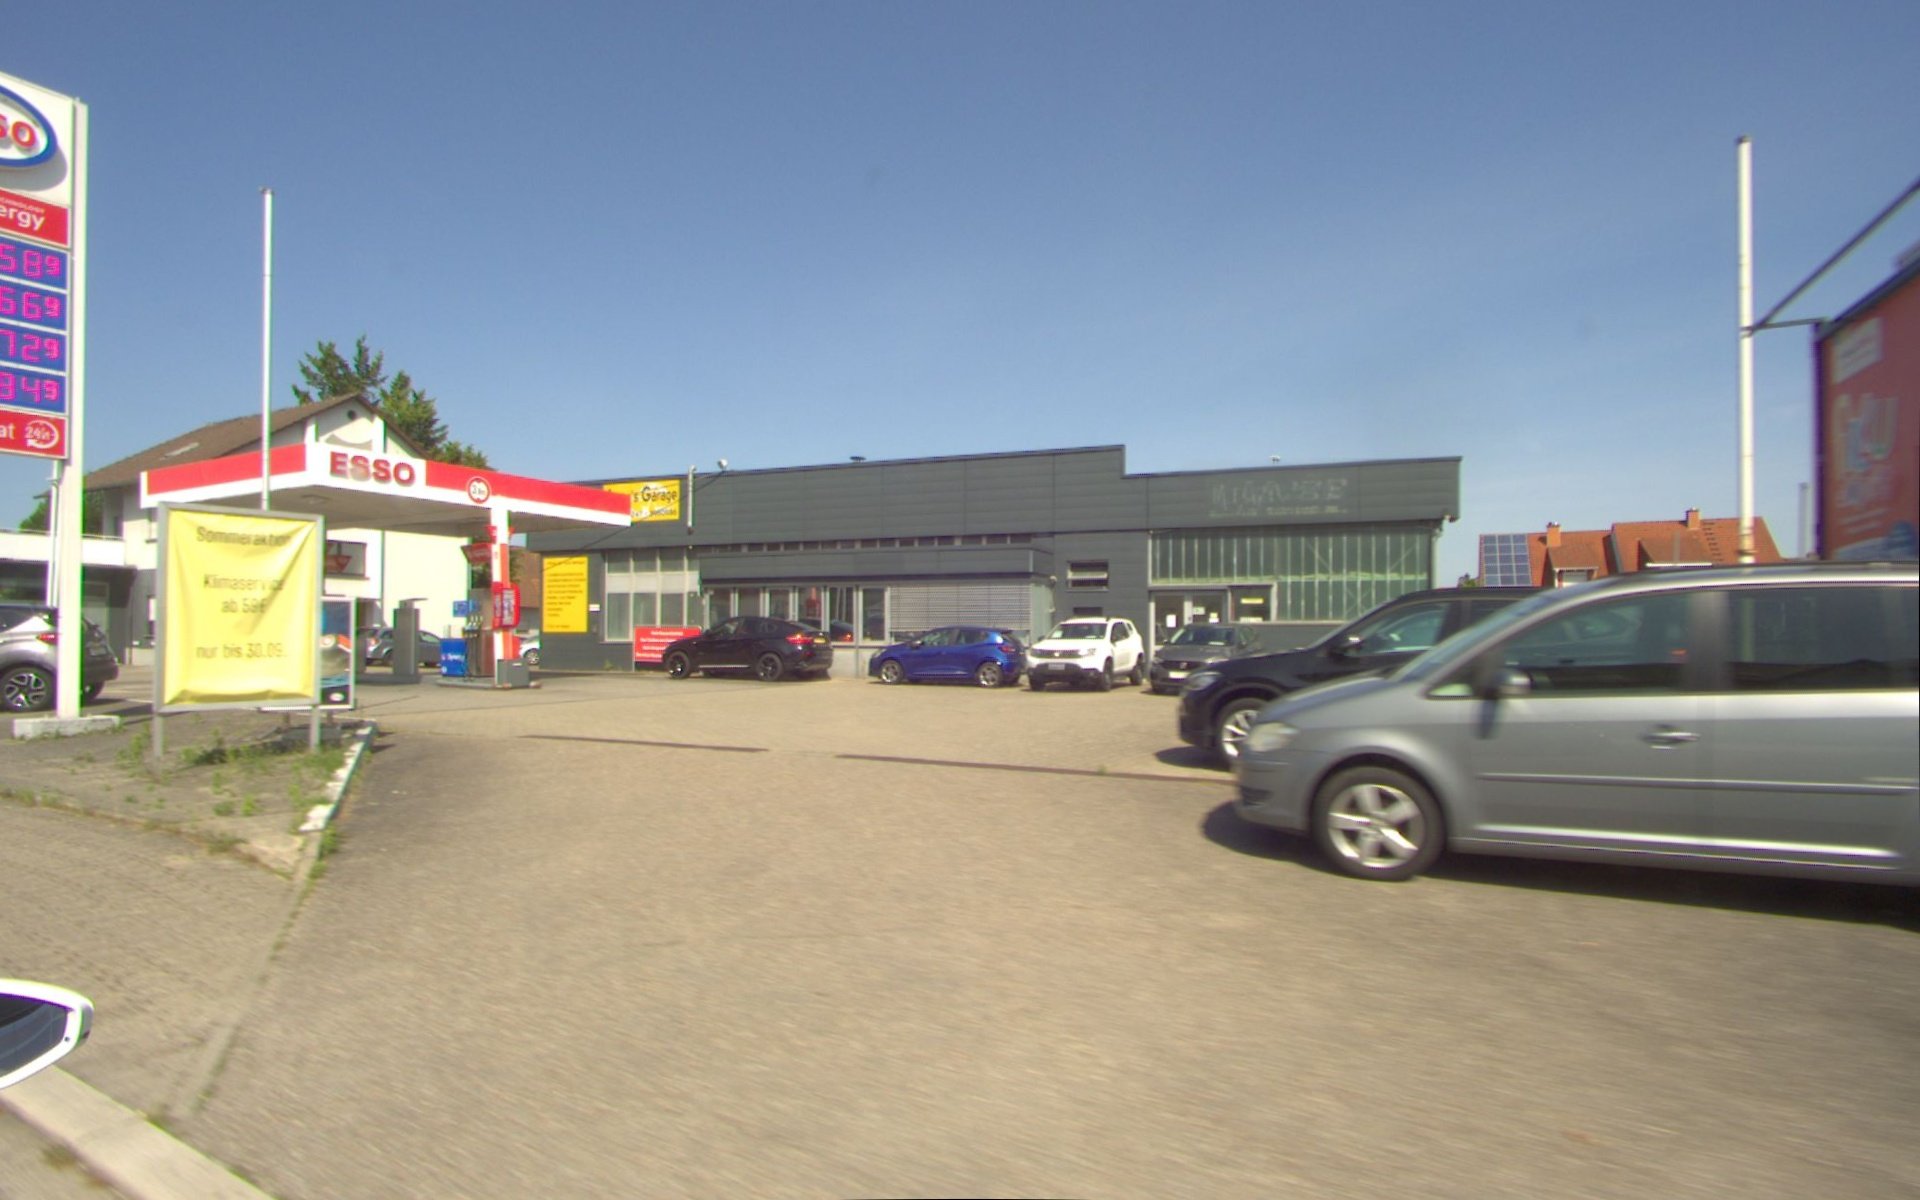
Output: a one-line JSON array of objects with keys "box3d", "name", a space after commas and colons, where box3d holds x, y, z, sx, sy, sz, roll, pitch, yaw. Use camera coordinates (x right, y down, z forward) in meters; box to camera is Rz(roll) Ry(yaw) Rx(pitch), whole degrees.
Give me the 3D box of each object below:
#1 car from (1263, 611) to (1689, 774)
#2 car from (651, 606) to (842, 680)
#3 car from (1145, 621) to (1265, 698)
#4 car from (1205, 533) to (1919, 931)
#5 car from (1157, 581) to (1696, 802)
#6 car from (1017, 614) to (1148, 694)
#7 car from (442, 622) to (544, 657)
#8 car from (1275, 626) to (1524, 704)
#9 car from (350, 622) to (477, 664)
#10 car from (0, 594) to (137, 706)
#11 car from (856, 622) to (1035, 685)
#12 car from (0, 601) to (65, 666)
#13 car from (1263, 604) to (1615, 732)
[{"box3d": [5.707, 0.966, 11.559, 4.038, 1.612, 1.842, -1, -1, 24], "name": "car"}, {"box3d": [-5.694, 1.122, 26.705, 4.734, 1.763, 1.807, 1, -1, 20], "name": "car"}, {"box3d": [5.321, 1.208, 21.417, 1.782, 1.493, 3.678, -1, -2, 26], "name": "car"}, {"box3d": [3.708, 0.561, 5.508, 4.298, 1.709, 1.803, 1, 1, 26], "name": "car"}, {"box3d": [3.937, 0.720, 8.993, 3.934, 1.612, 1.971, -1, -1, 24], "name": "car"}, {"box3d": [2.913, 1.184, 23.026, 1.782, 1.655, 4.141, -1, -2, 26], "name": "car"}, {"box3d": [-21.818, 1.873, 46.809, 4.026, 1.497, 1.800, 3, -4, -36], "name": "car"}, {"box3d": [8.580, 1.231, 19.827, 4.303, 1.404, 1.842, -1, -1, 24], "name": "car"}, {"box3d": [-20.992, 1.631, 38.637, 1.783, 1.498, 4.061, -1, -2, 26], "name": "car"}, {"box3d": [-14.959, 0.764, 14.653, 4.114, 1.575, 1.769, -1, 0, -24], "name": "car"}, {"box3d": [-0.353, 1.290, 24.808, 4.056, 1.450, 1.795, -1, -1, 21], "name": "car"}, {"box3d": [-31.474, 1.057, 31.241, 2.188, 2.039, 5.287, 0, -1, 4], "name": "car"}, {"box3d": [6.703, 0.915, 14.417, 4.267, 1.612, 2.000, -1, -1, 24], "name": "car"}]
